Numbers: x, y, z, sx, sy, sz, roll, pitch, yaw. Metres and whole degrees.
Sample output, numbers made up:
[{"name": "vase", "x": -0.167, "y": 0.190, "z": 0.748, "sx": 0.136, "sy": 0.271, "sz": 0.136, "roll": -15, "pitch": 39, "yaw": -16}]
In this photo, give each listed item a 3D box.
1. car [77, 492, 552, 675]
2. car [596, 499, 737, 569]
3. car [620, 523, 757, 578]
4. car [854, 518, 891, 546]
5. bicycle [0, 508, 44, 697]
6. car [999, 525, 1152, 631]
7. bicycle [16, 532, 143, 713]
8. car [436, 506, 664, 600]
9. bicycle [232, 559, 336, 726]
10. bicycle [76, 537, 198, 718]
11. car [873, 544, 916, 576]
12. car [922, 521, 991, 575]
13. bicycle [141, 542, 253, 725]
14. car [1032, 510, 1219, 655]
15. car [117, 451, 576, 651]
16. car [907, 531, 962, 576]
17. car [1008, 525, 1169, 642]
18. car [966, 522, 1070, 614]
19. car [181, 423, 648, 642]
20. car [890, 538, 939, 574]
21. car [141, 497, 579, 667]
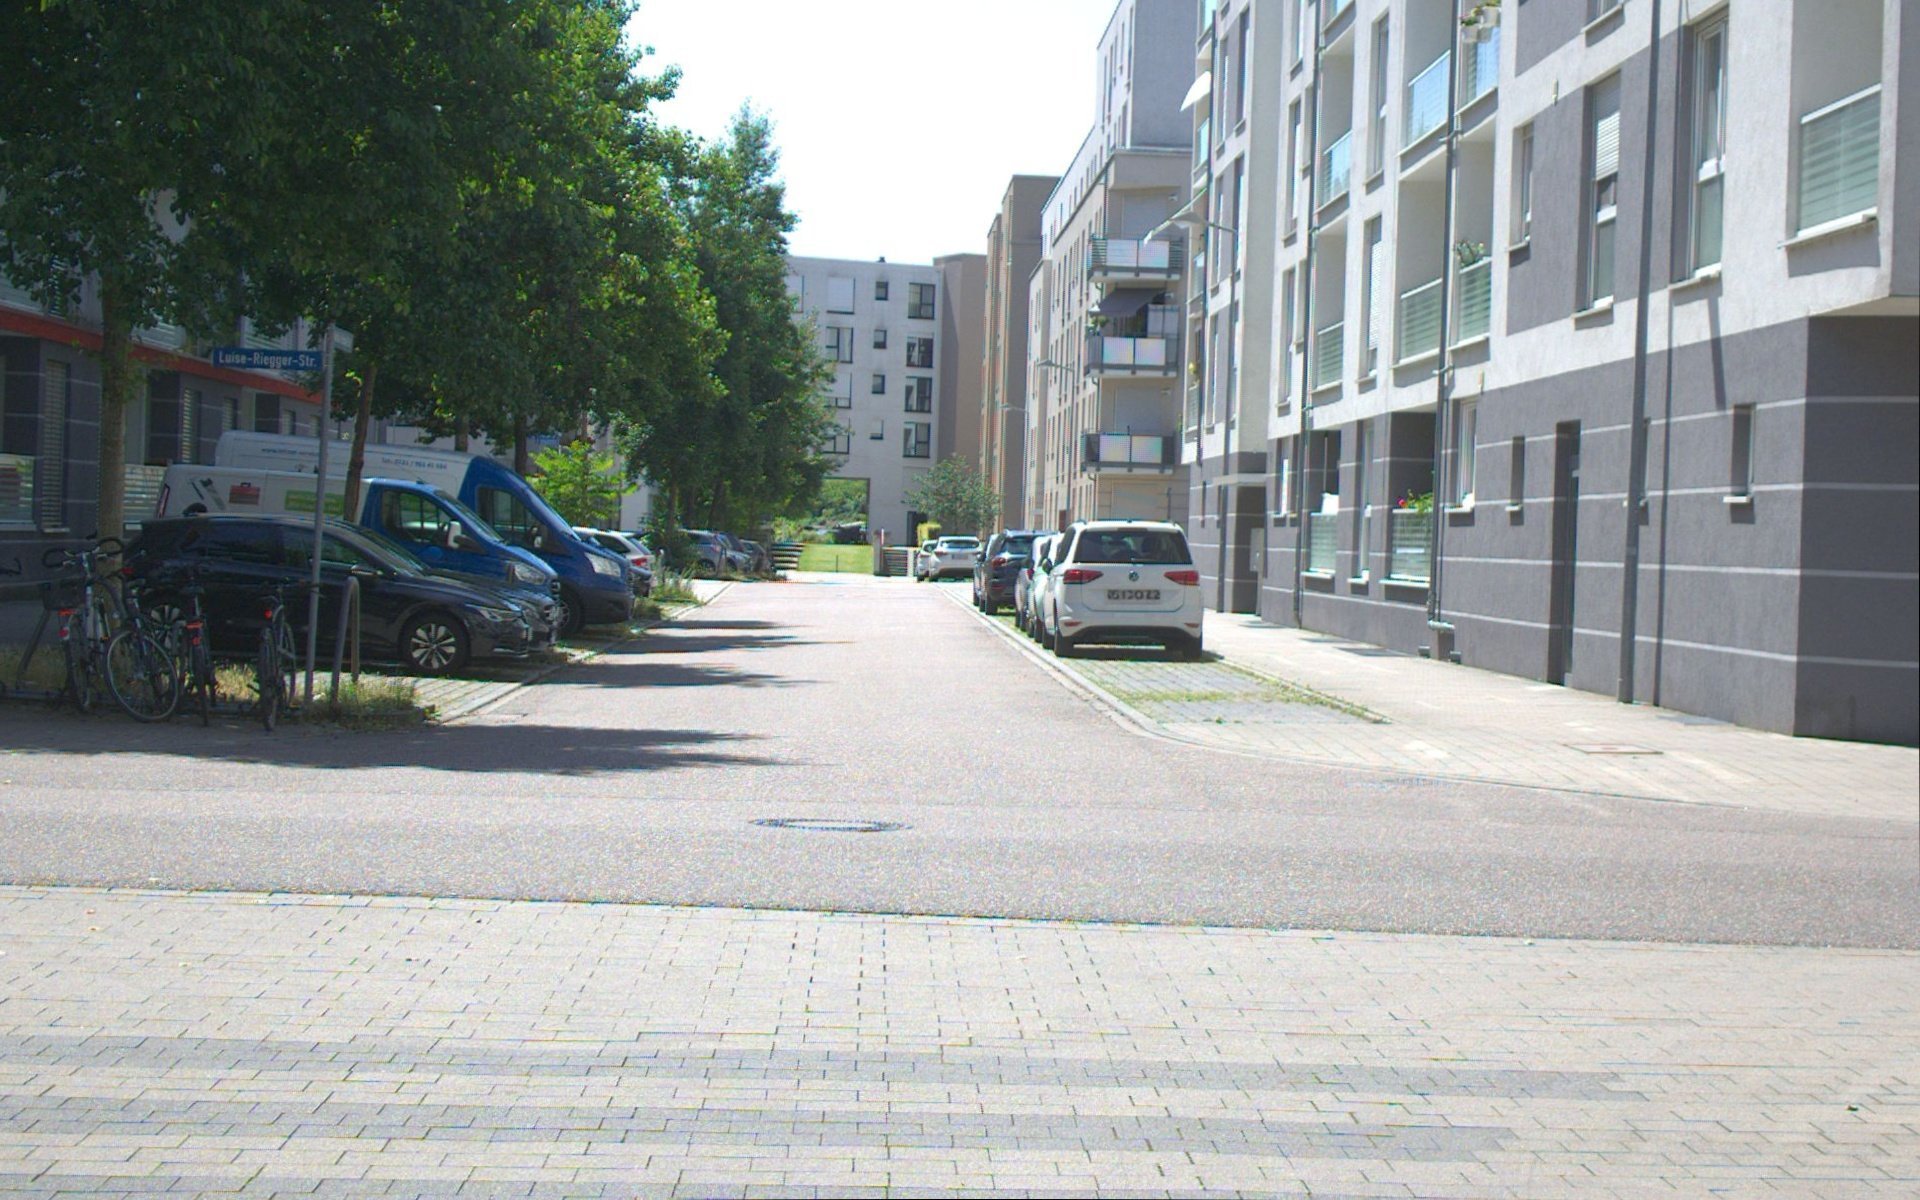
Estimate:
[{"name": "car", "x": -6.473, "y": -0.183, "z": 34.869, "sx": 4.383, "sy": 1.509, "sz": 2.075, "roll": 4, "pitch": 1, "yaw": -1}, {"name": "car", "x": -9.052, "y": -2.030, "z": 106.278, "sx": 3.988, "sy": 2.007, "sz": 2.000, "roll": 2, "pitch": 1, "yaw": 5}, {"name": "car", "x": -8.581, "y": -1.574, "z": 108.901, "sx": 3.988, "sy": 1.597, "sz": 2.000, "roll": 2, "pitch": 1, "yaw": 5}, {"name": "car", "x": -4.965, "y": -3.836, "z": 194.175, "sx": 1.993, "sy": 1.514, "sz": 4.001, "roll": 2, "pitch": 1, "yaw": -3}, {"name": "bicycle", "x": -7.145, "y": 0.016, "z": 24.786, "sx": 0.593, "sy": 1.327, "sz": 1.812, "roll": 1, "pitch": 2, "yaw": -1}, {"name": "car", "x": 1.729, "y": -0.368, "z": 52.750, "sx": 1.993, "sy": 1.519, "sz": 4.001, "roll": 1, "pitch": 1, "yaw": -3}, {"name": "bicycle", "x": -6.387, "y": 0.143, "z": 25.010, "sx": 0.518, "sy": 1.200, "sz": 1.753, "roll": 3, "pitch": 2, "yaw": -4}, {"name": "car", "x": -7.687, "y": -0.892, "z": 64.667, "sx": 3.987, "sy": 1.612, "sz": 2.000, "roll": 2, "pitch": 1, "yaw": 1}, {"name": "bicycle", "x": -4.900, "y": 0.286, "z": 25.001, "sx": 0.466, "sy": 1.138, "sz": 1.926, "roll": 2, "pitch": 1, "yaw": -4}, {"name": "bicycle", "x": -5.916, "y": 0.174, "z": 24.767, "sx": 0.434, "sy": 1.200, "sz": 1.700, "roll": 3, "pitch": 2, "yaw": -1}, {"name": "car", "x": -3.309, "y": -2.045, "z": 173.357, "sx": 1.993, "sy": 1.514, "sz": 4.000, "roll": 2, "pitch": 1, "yaw": 1}, {"name": "car", "x": -0.143, "y": -1.690, "z": 110.851, "sx": 1.993, "sy": 1.669, "sz": 4.001, "roll": 2, "pitch": 1, "yaw": -3}, {"name": "bicycle", "x": -5.484, "y": 0.219, "z": 24.769, "sx": 0.570, "sy": 1.170, "sz": 1.769, "roll": 5, "pitch": 2, "yaw": -9}, {"name": "car", "x": 1.980, "y": -0.249, "z": 42.221, "sx": 1.997, "sy": 1.651, "sz": 4.115, "roll": 1, "pitch": 1, "yaw": -1}, {"name": "car", "x": -7.424, "y": -0.613, "z": 42.033, "sx": 5.144, "sy": 2.112, "sz": 2.312, "roll": 3, "pitch": 1, "yaw": -1}, {"name": "car", "x": -1.041, "y": -1.890, "z": 138.071, "sx": 1.993, "sy": 1.711, "sz": 4.001, "roll": 2, "pitch": 1, "yaw": -3}, {"name": "car", "x": 1.744, "y": -0.264, "z": 47.921, "sx": 1.993, "sy": 1.519, "sz": 4.000, "roll": 1, "pitch": 1, "yaw": -1}, {"name": "car", "x": 1.079, "y": -0.604, "z": 62.318, "sx": 1.757, "sy": 1.547, "sz": 4.000, "roll": 3, "pitch": 1, "yaw": 2}, {"name": "car", "x": -7.436, "y": -0.935, "z": 47.460, "sx": 6.023, "sy": 2.806, "sz": 2.605, "roll": 1, "pitch": 1, "yaw": -1}, {"name": "car", "x": -2.026, "y": -1.964, "z": 152.123, "sx": 1.993, "sy": 1.514, "sz": 4.001, "roll": 2, "pitch": 1, "yaw": -3}, {"name": "car", "x": -6.471, "y": -0.209, "z": 37.422, "sx": 4.383, "sy": 1.536, "sz": 1.878, "roll": 4, "pitch": 1, "yaw": -1}]
